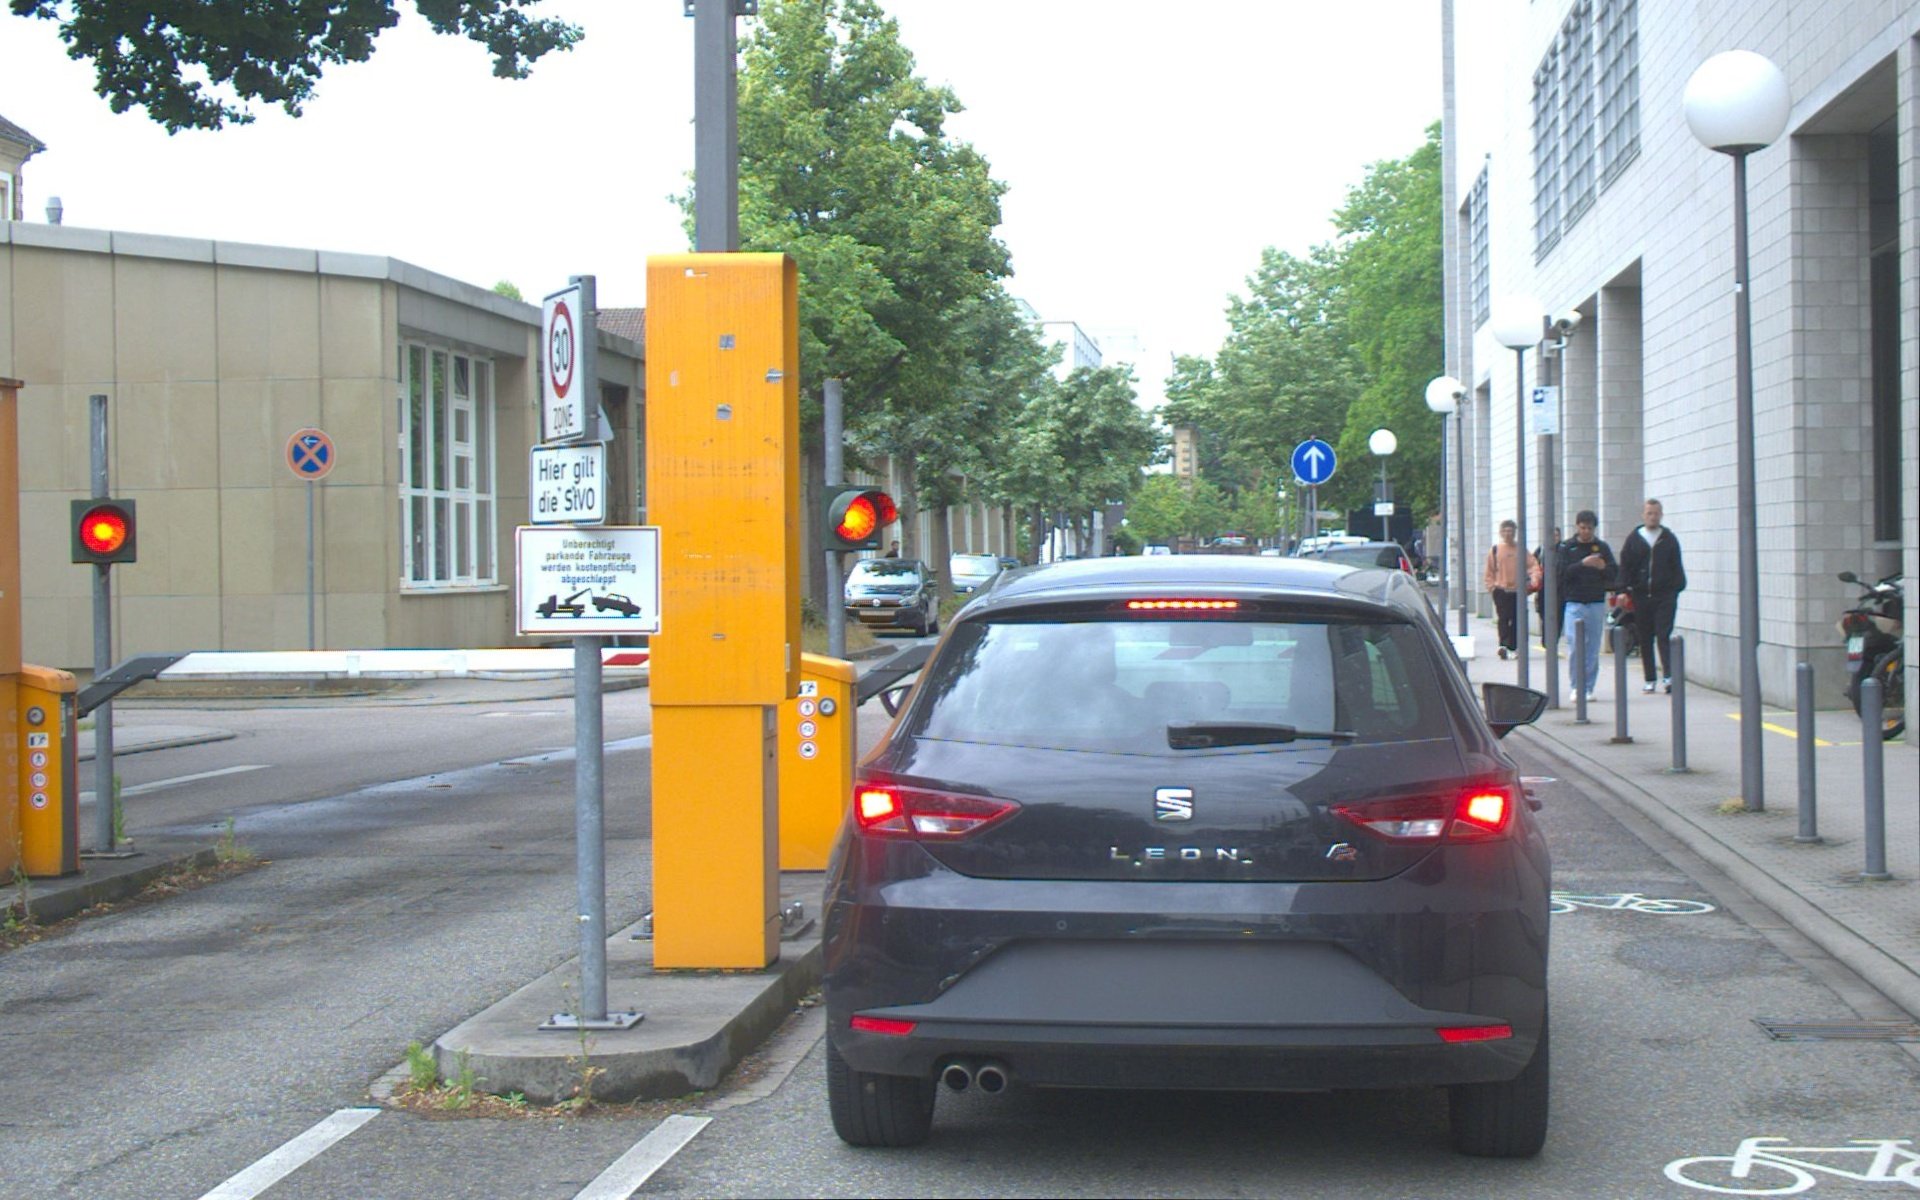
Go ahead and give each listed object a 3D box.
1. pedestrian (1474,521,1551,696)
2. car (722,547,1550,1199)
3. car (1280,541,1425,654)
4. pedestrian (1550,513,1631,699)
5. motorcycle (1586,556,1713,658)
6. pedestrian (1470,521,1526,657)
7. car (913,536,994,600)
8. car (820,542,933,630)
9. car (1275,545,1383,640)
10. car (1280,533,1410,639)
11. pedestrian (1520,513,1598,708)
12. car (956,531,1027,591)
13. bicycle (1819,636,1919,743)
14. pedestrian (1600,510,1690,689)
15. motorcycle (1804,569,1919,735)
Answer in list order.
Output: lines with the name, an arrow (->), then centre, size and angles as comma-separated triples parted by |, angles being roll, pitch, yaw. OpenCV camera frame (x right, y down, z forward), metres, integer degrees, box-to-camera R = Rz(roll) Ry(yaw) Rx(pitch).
pedestrian -> 5.445, 0.081, 33.904 | 0.696, 1.708, 0.489 | 0, 1, 2
car -> 0.533, 0.571, 9.479 | 1.782, 1.414, 4.129 | 0, 1, 4
car -> 5.963, -0.045, 52.649 | 1.994, 1.617, 4.427 | -2, 0, 4
pedestrian -> 5.861, 0.051, 31.981 | 0.690, 1.693, 0.588 | 1, 3, 8
motorcycle -> 8.733, 0.070, 43.473 | 0.760, 1.144, 2.658 | 2, 4, 30
pedestrian -> 6.812, -0.146, 43.547 | 0.696, 1.708, 0.489 | 0, 1, 9
car -> -0.144, -0.844, 88.179 | 1.770, 1.595, 3.999 | 0, 1, 5
car -> -1.564, -0.290, 65.429 | 1.770, 1.595, 4.000 | 0, 1, 4
car -> 7.400, -0.180, 69.287 | 1.994, 1.776, 4.427 | -2, 1, 5
car -> 6.358, -0.267, 57.158 | 1.994, 1.617, 4.427 | -2, 1, 5
pedestrian -> 5.320, 0.089, 30.561 | 0.611, 1.708, 0.574 | -1, 1, 7
car -> 0.881, -1.073, 93.606 | 1.770, 1.595, 4.000 | 0, 1, 3
bicycle -> 6.959, 0.620, 23.795 | 1.896, 0.696, 0.493 | 0, 3, 2
pedestrian -> 6.588, -0.009, 33.076 | 0.728, 1.693, 0.588 | 0, 3, 0
motorcycle -> 7.221, 0.382, 26.958 | 0.566, 1.144, 2.213 | 2, 4, 30
